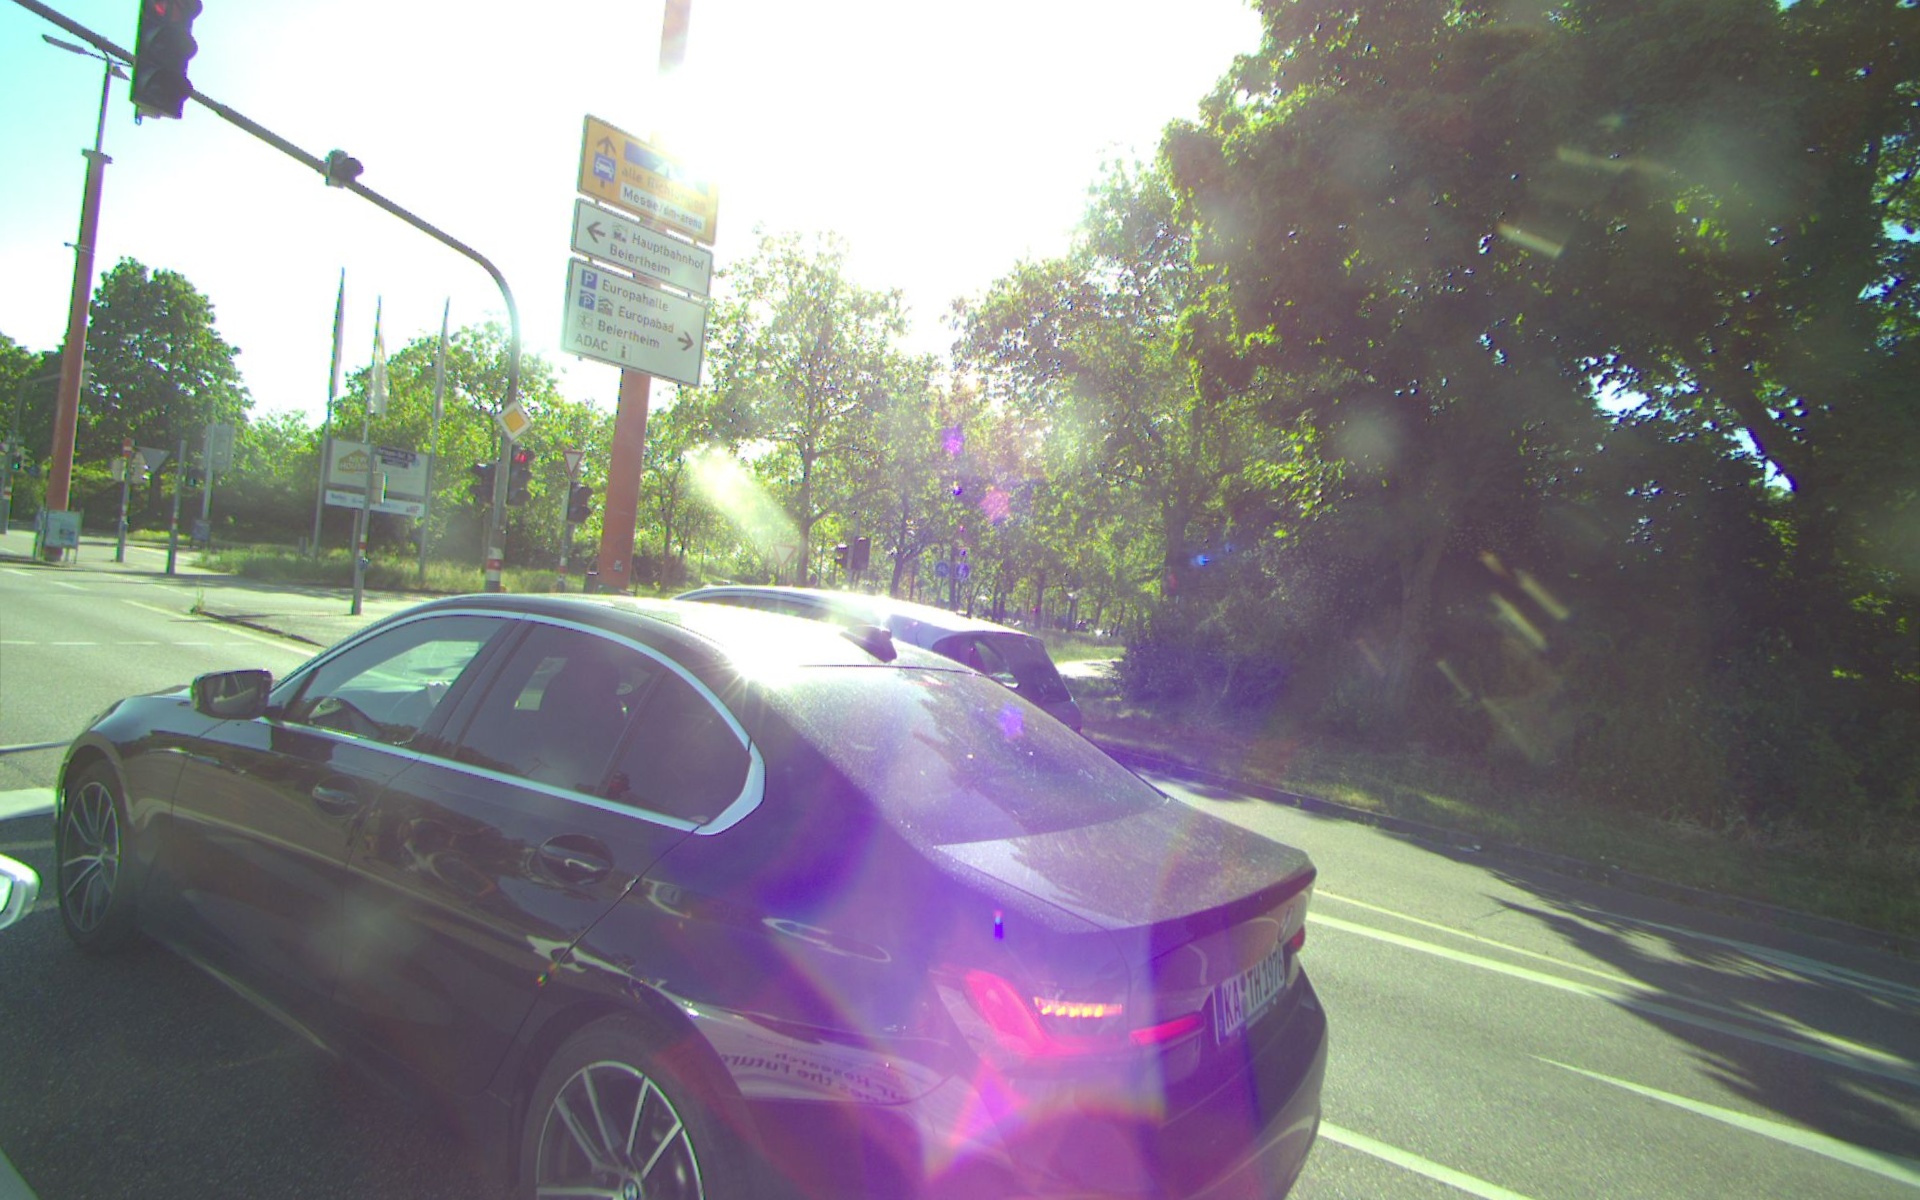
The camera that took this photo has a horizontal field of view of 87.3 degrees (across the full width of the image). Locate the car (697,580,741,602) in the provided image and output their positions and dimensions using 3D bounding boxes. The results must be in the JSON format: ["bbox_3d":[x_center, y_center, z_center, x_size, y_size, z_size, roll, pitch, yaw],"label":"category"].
[{"bbox_3d":[-21.297,-0.770,88.962,1.751,1.503,4.332,7,-1,16],"label":"car"}]

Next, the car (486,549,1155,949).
[{"bbox_3d":[-1.013,0.709,6.486,3.963,1.597,1.741,7,0,33],"label":"car"}]

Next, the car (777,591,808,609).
[{"bbox_3d":[-17.222,-0.012,103.557,1.652,1.485,3.997,7,-1,14],"label":"car"}]

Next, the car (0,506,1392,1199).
[{"bbox_3d":[-1.158,0.642,3.285,4.371,1.415,1.871,7,0,33],"label":"car"}]
